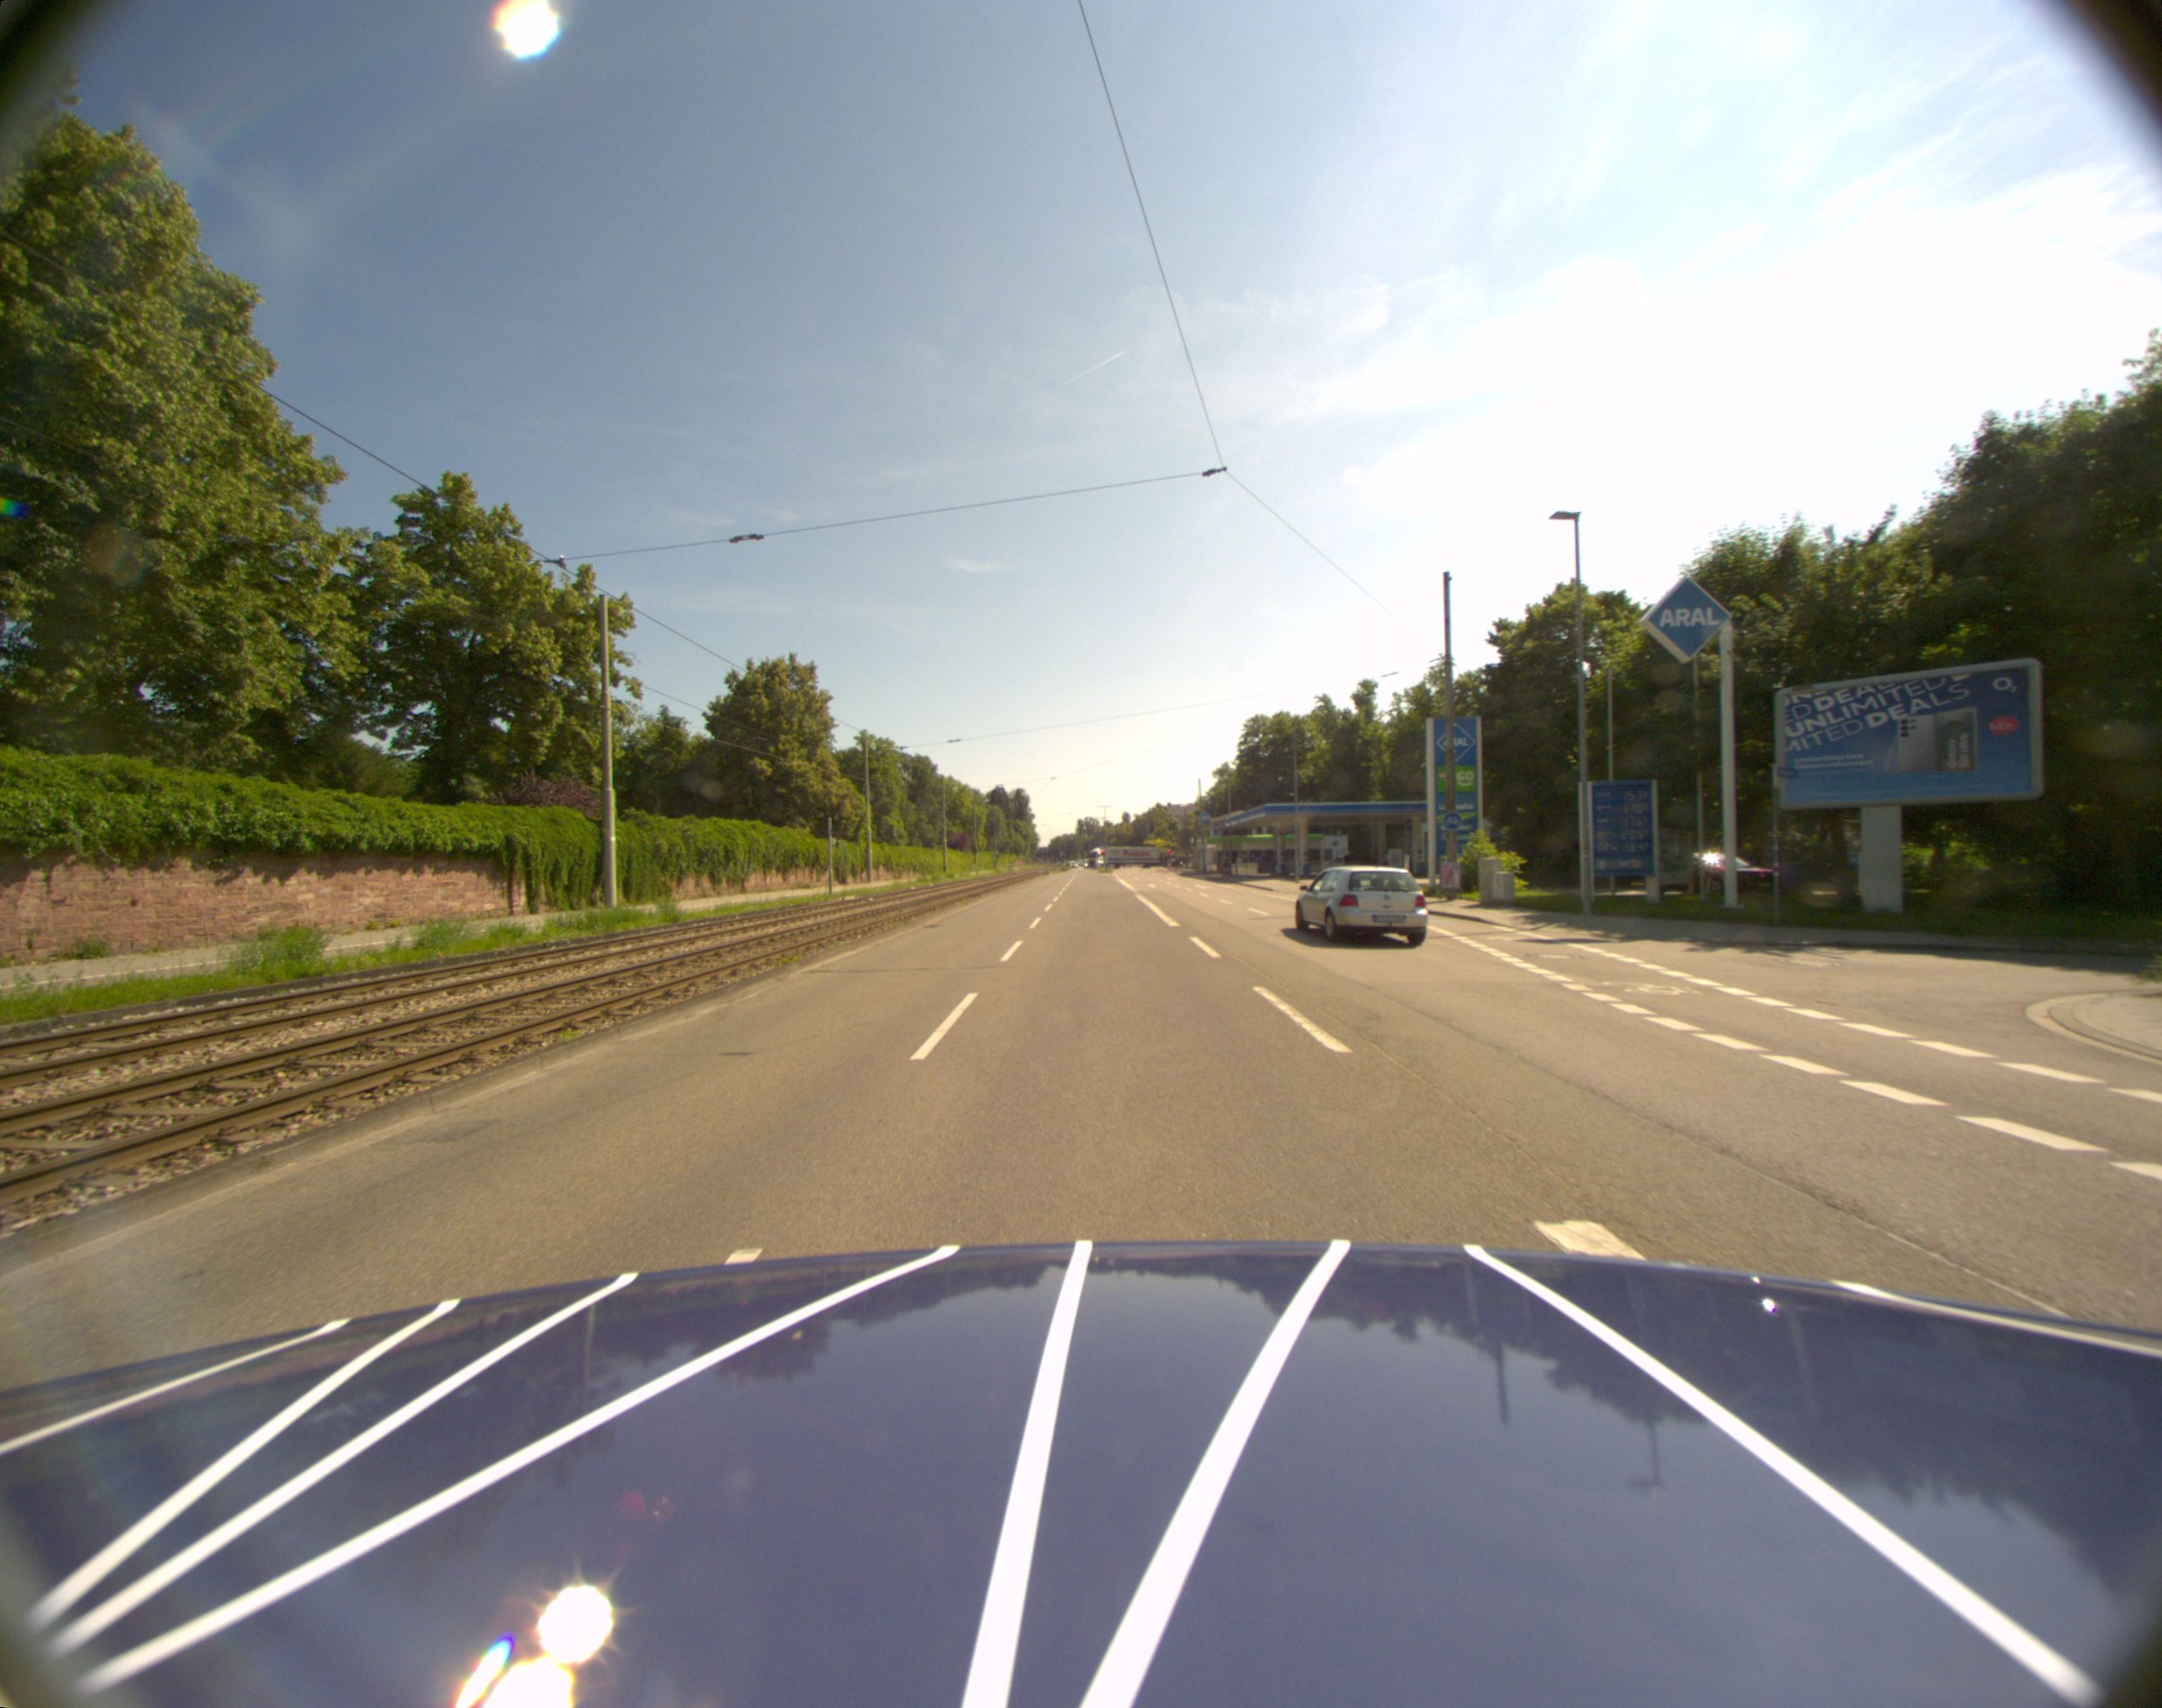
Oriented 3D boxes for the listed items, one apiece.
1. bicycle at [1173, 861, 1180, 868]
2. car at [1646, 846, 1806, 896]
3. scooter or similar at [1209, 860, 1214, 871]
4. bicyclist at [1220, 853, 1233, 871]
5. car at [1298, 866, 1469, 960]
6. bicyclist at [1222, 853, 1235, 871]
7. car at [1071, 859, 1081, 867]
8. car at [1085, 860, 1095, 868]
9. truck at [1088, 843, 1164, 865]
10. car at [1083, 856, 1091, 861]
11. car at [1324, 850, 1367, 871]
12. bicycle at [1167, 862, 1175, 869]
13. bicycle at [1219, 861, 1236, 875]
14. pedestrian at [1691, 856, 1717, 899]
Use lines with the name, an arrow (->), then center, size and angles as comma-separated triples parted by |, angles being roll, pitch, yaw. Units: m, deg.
bicycle -> 15.269, 1.656, 121.102 | 0.939, 1.168, 2.211 | -1, 0, 2
car -> 22.472, 0.614, 26.755 | 1.804, 1.560, 4.519 | -1, -2, 1
scooter or similar -> 14.981, 1.351, 87.166 | 0.442, 1.230, 1.346 | -1, 0, 11
bicyclist -> 12.068, 0.665, 62.998 | 0.849, 1.427, 0.833 | -2, -1, 0
car -> 5.454, 0.980, 14.319 | 1.662, 1.412, 4.311 | 1, 0, 3
bicyclist -> 12.082, 0.631, 62.138 | 0.849, 1.427, 0.832 | -1, 0, 0
car -> -1.182, 1.866, 164.073 | 1.931, 1.593, 4.467 | -2, 0, -3
car -> 1.819, 1.986, 155.921 | 1.755, 1.573, 4.504 | -1, -1, -4
truck -> 8.348, -0.058, 139.438 | 14.321, 3.983, 2.849 | 0, 0, -24
car -> 1.606, 1.296, 217.558 | 1.931, 1.593, 4.467 | -2, 0, -3
car -> 24.114, 0.608, 69.603 | 1.848, 1.771, 5.965 | -1, -1, 0
bicycle -> 14.171, 1.739, 119.336 | 0.753, 1.051, 2.074 | -1, 0, -8
bicycle -> 12.014, 1.112, 62.329 | 0.827, 1.088, 2.772 | 0, 0, -1
pedestrian -> 21.697, 0.803, 26.475 | 0.500, 1.472, 0.500 | -1, 0, 1
